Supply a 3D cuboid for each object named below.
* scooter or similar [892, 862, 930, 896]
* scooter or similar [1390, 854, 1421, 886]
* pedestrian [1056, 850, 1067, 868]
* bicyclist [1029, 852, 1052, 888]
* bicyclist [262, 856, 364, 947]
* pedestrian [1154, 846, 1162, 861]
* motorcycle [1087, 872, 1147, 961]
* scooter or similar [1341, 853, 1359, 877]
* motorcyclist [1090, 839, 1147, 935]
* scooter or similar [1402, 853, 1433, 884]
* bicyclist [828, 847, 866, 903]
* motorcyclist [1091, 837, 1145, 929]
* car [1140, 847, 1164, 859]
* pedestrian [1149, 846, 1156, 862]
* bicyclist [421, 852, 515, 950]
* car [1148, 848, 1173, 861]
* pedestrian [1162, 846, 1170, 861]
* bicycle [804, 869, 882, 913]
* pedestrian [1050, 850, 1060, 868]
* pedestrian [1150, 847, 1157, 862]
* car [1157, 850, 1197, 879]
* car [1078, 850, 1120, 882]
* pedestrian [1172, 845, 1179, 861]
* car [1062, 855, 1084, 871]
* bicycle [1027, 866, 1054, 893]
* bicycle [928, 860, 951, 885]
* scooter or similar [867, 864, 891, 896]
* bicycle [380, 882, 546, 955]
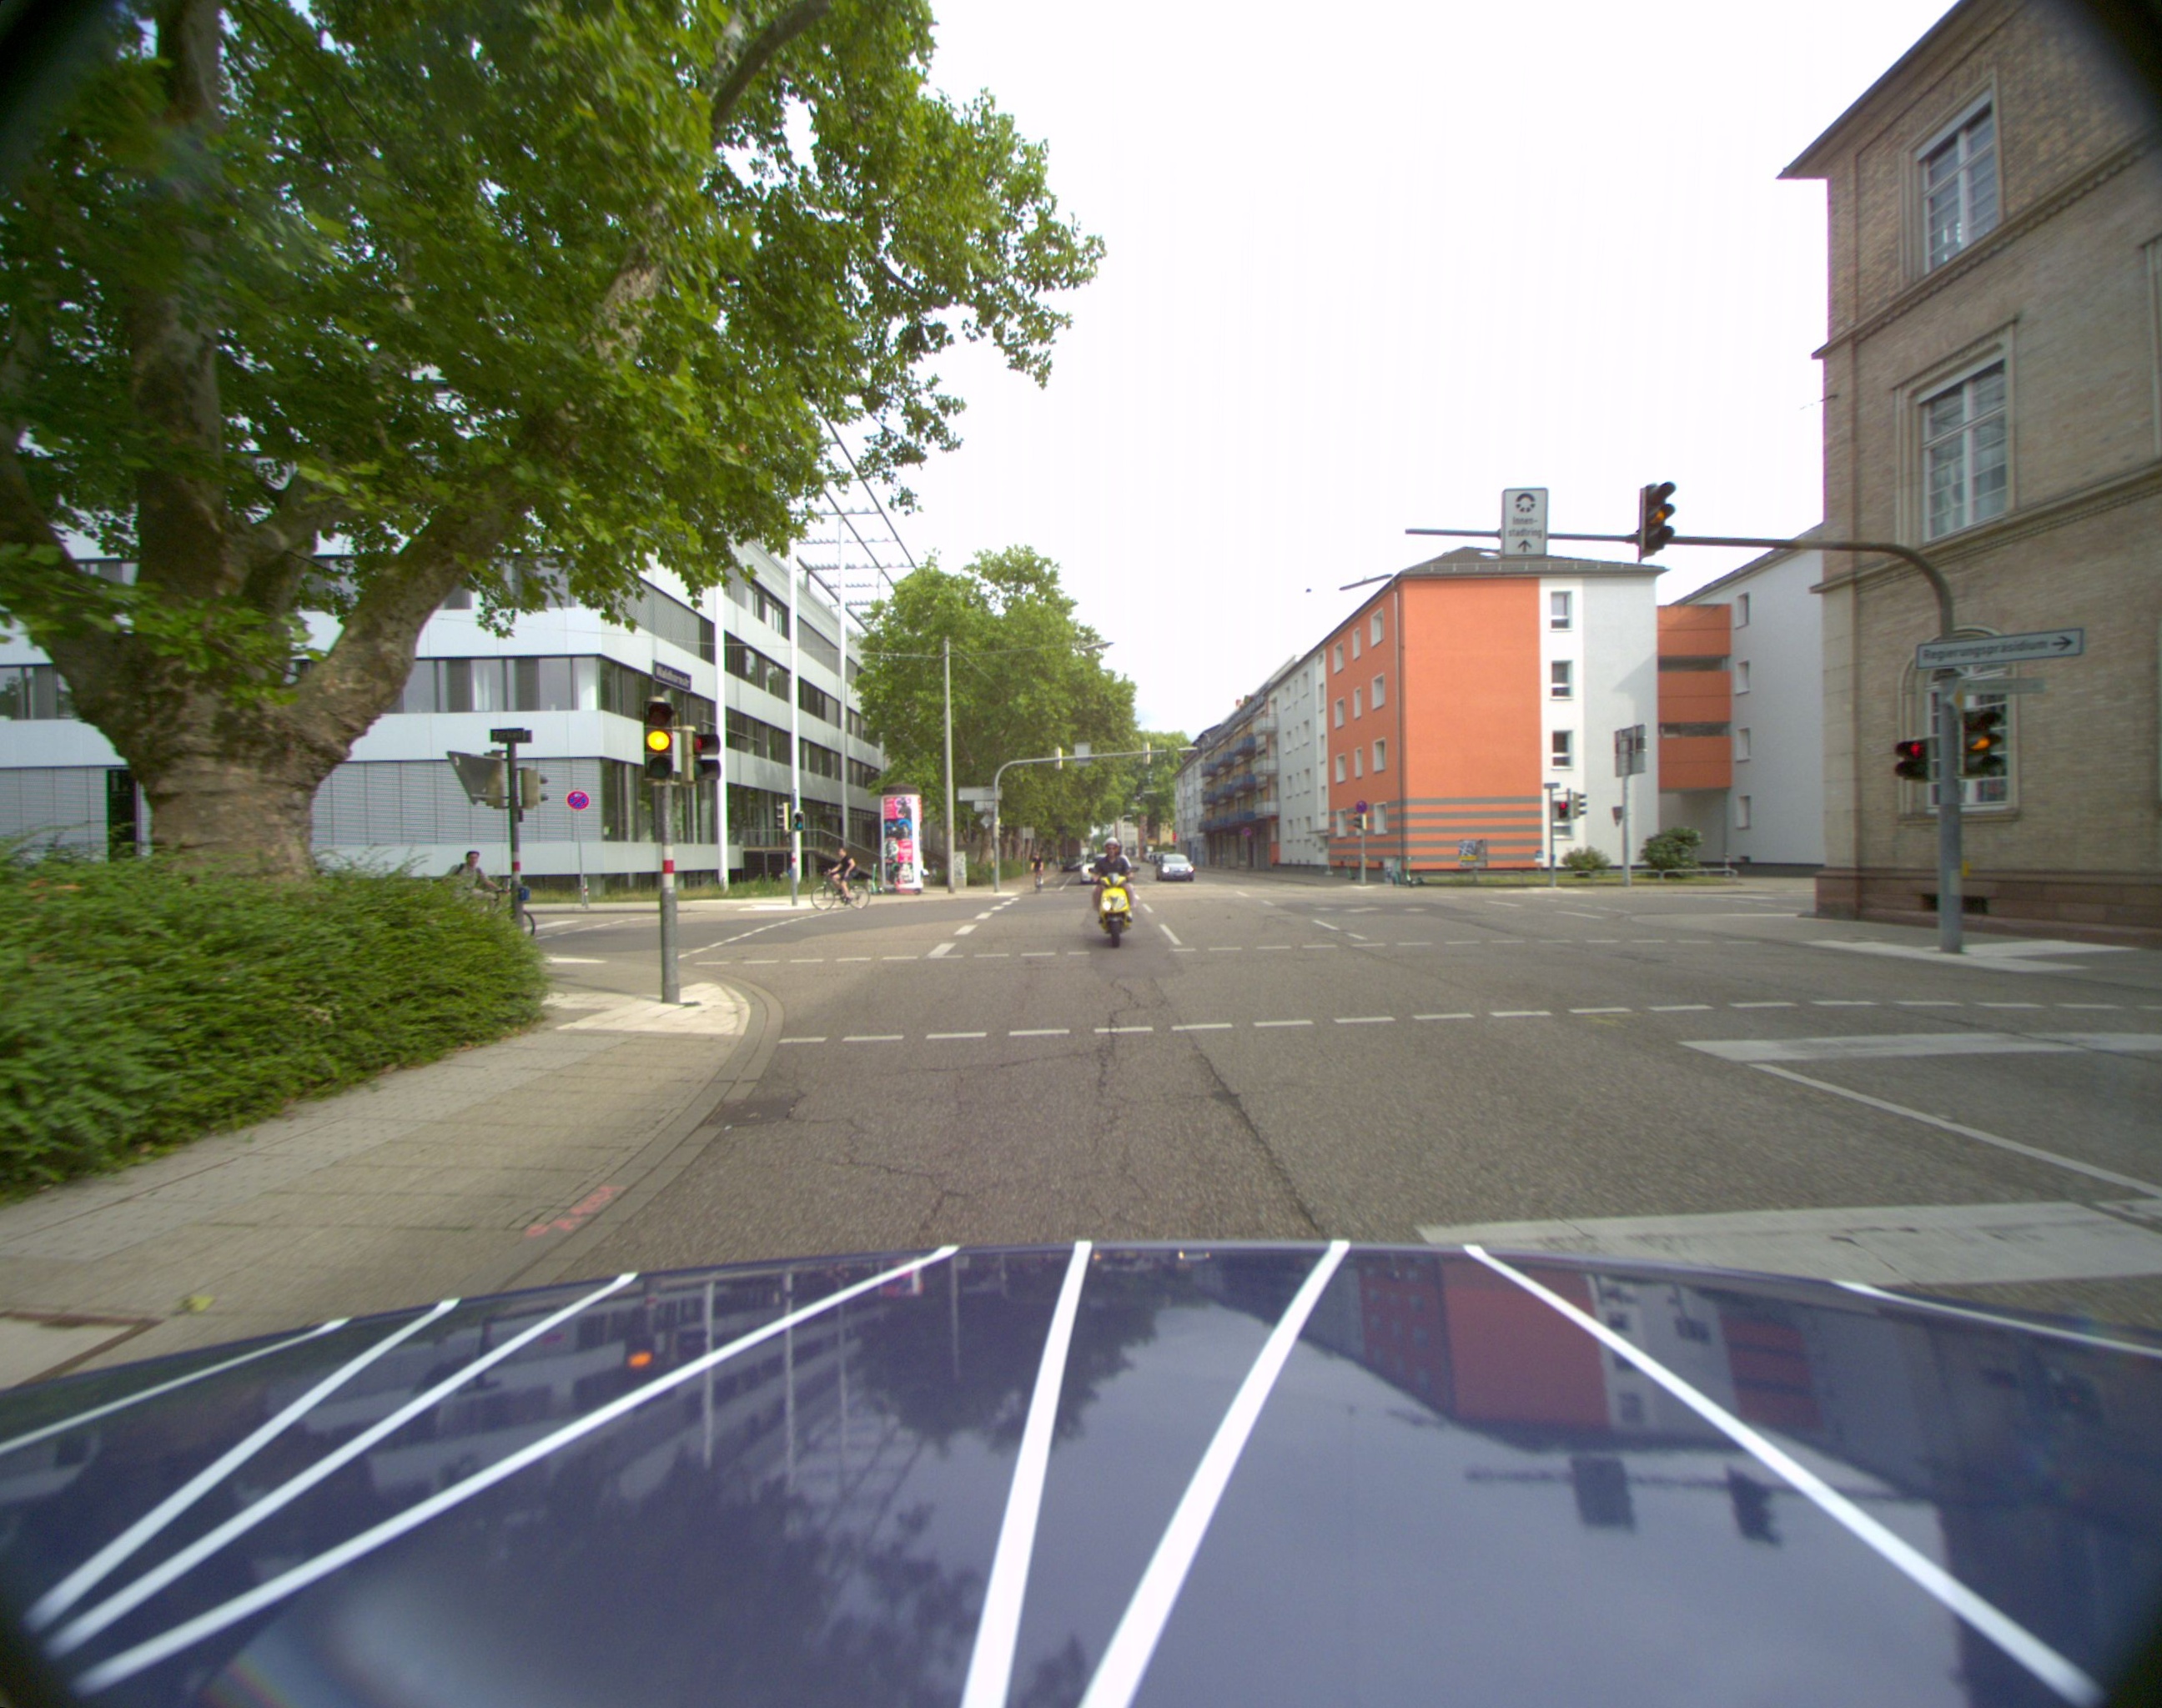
[{"bbox_3d":[-6.351,0.930,28.382,1.309,1.202,0.344,1,1,5],"label":"scooter or similar"},{"bbox_3d":[12.343,0.609,28.944,0.330,1.172,1.341,-3,0,-12],"label":"scooter or similar"},{"bbox_3d":[-2.246,0.559,87.285,1.003,2.002,0.997,-3,1,3],"label":"pedestrian"},{"bbox_3d":[-1.675,0.663,31.350,0.784,1.438,0.914,-3,0,2],"label":"bicyclist"},{"bbox_3d":[-13.871,0.834,13.757,0.831,1.568,0.916,-1,2,5],"label":"bicyclist"},{"bbox_3d":[10.358,-0.021,102.229,0.842,2.002,0.875,-3,1,5],"label":"pedestrian"},{"bbox_3d":[0.566,0.914,11.836,0.781,1.171,1.993,-3,0,3],"label":"motorcycle"},{"bbox_3d":[12.679,0.512,35.868,0.369,1.117,1.354,-3,0,1],"label":"scooter or similar"},{"bbox_3d":[0.591,0.497,11.909,0.781,1.419,0.764,-3,1,3],"label":"motorcyclist"},{"bbox_3d":[12.942,0.570,29.270,0.330,1.151,1.352,-3,0,-12],"label":"scooter or similar"},{"bbox_3d":[-6.991,0.624,22.669,0.802,1.574,0.772,-4,0,-34],"label":"bicyclist"},{"bbox_3d":[0.604,0.461,12.401,0.781,1.419,0.689,-3,1,3],"label":"motorcyclist"},{"bbox_3d":[12.895,-0.132,137.725,3.997,2.002,2.000,-3,0,0],"label":"car"},{"bbox_3d":[9.613,0.016,101.543,0.842,2.002,0.875,-3,1,5],"label":"pedestrian"},{"bbox_3d":[-10.872,0.809,13.509,0.831,1.669,0.916,-1,2,5],"label":"bicyclist"},{"bbox_3d":[13.443,0.055,128.506,3.997,2.002,2.000,-3,0,0],"label":"car"},{"bbox_3d":[11.135,-0.058,99.524,0.842,2.002,0.875,-3,1,5],"label":"pedestrian"},{"bbox_3d":[-7.040,1.080,22.563,2.007,1.124,0.772,-4,0,-35],"label":"bicycle"},{"bbox_3d":[-2.958,0.592,87.296,1.003,2.002,0.997,-3,1,3],"label":"pedestrian"},{"bbox_3d":[9.765,0.008,102.994,0.842,2.002,0.875,-3,1,5],"label":"pedestrian"},{"bbox_3d":[5.116,0.532,40.754,1.673,1.430,3.820,-1,0,0],"label":"car"},{"bbox_3d":[1.014,0.604,40.750,1.998,1.543,4.522,-3,0,3],"label":"car"},{"bbox_3d":[12.369,-0.119,99.708,0.842,2.002,0.875,-3,1,5],"label":"pedestrian"},{"bbox_3d":[-0.778,0.877,77.732,1.998,1.532,4.272,-3,0,3],"label":"car"},{"bbox_3d":[-1.638,1.038,31.192,0.770,1.009,2.408,-1,0,5],"label":"bicycle"},{"bbox_3d":[-6.906,0.878,37.116,0.700,1.162,1.725,-3,0,1],"label":"bicycle"},{"bbox_3d":[-7.526,0.939,28.308,0.473,1.131,1.307,0,1,-33],"label":"scooter or similar"},{"bbox_3d":[-10.958,1.131,13.520,2.249,1.166,0.916,-1,2,5],"label":"bicycle"}]
